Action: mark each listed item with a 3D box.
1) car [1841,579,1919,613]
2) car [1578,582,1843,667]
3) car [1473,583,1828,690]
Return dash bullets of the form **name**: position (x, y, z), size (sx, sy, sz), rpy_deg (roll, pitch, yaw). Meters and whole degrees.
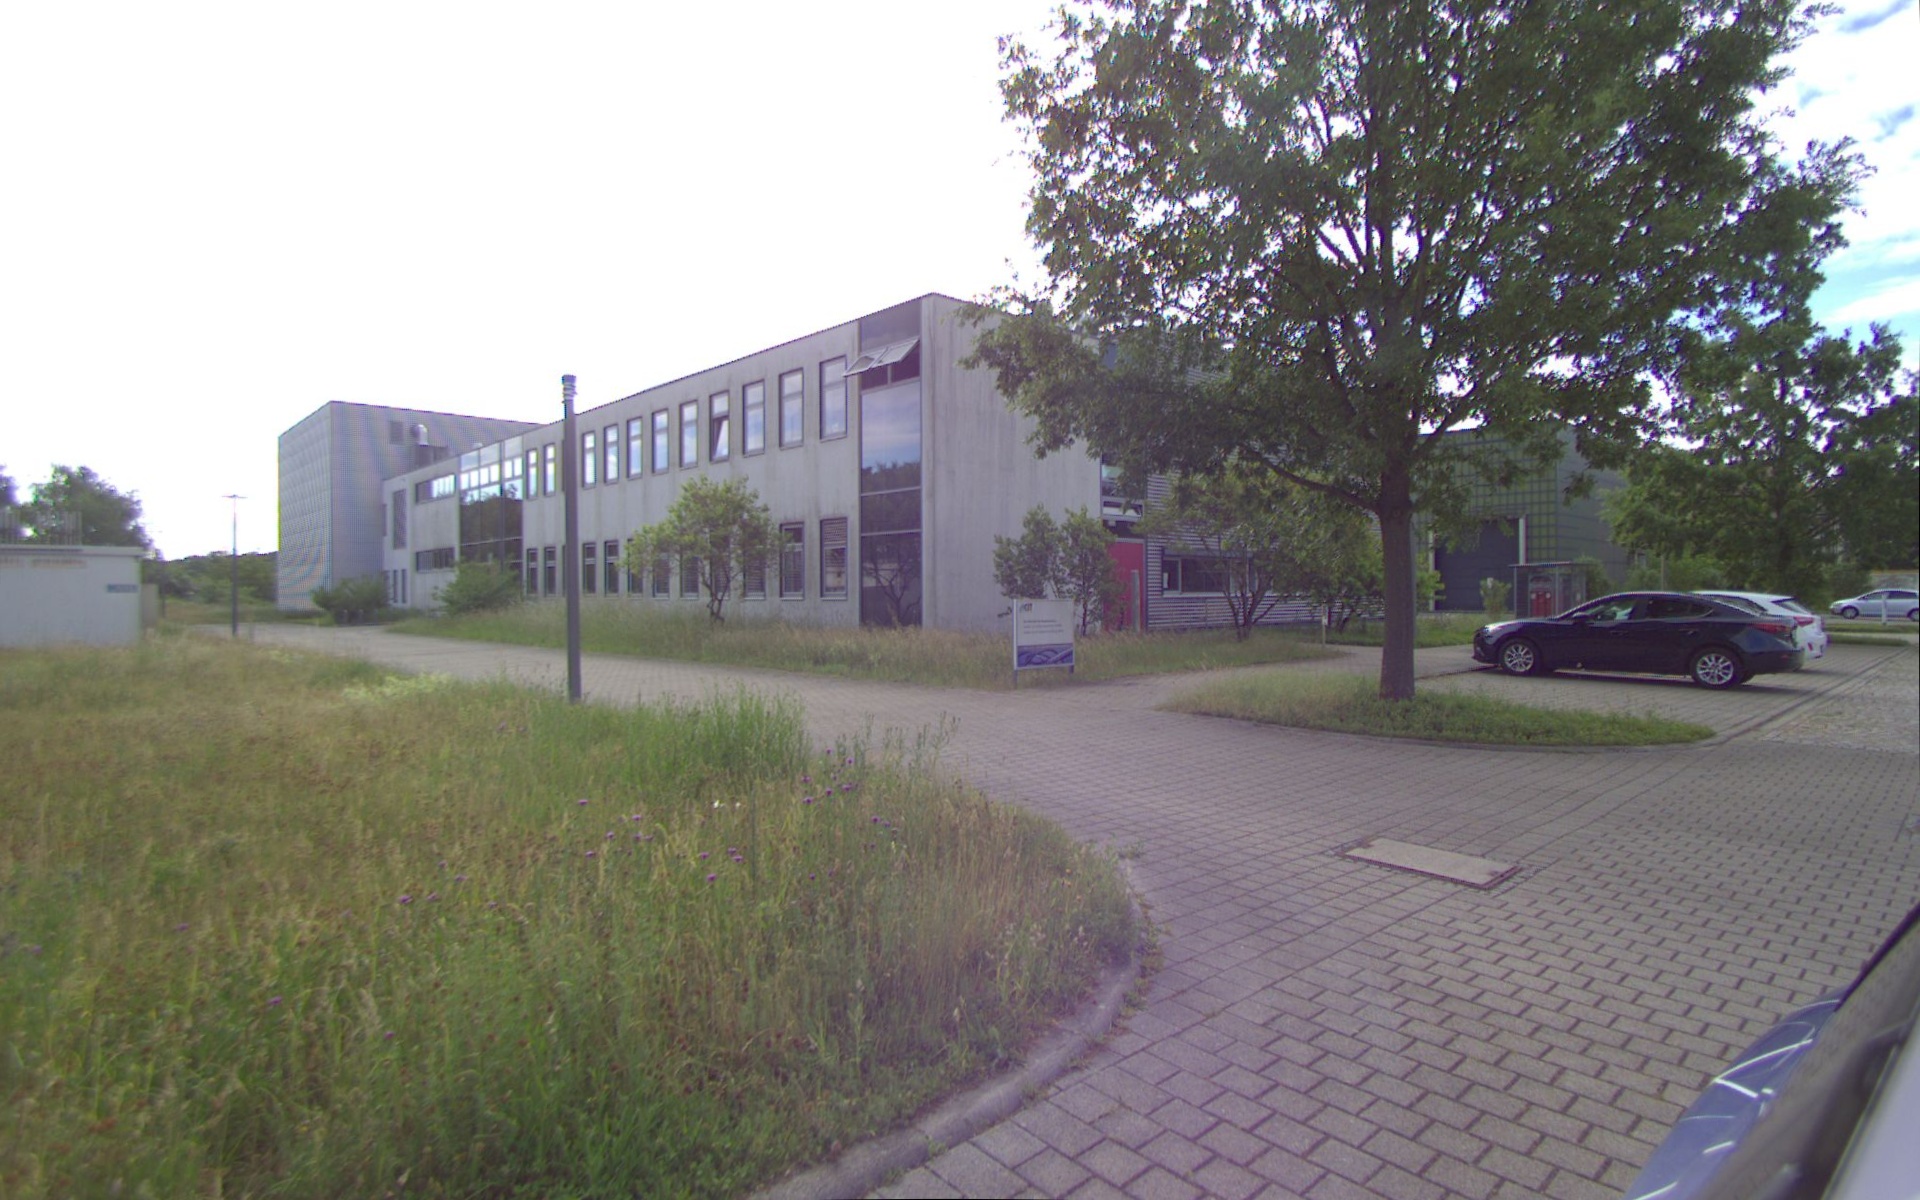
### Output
- **car**: position (47.597, -0.211, 51.433), size (4.123, 1.644, 1.908), rpy_deg (3, 3, 45)
- **car**: position (14.775, 0.402, 20.070), size (1.851, 1.485, 3.980), rpy_deg (0, 1, -43)
- **car**: position (11.070, 0.472, 16.479), size (1.912, 1.465, 4.469), rpy_deg (0, 1, -43)
